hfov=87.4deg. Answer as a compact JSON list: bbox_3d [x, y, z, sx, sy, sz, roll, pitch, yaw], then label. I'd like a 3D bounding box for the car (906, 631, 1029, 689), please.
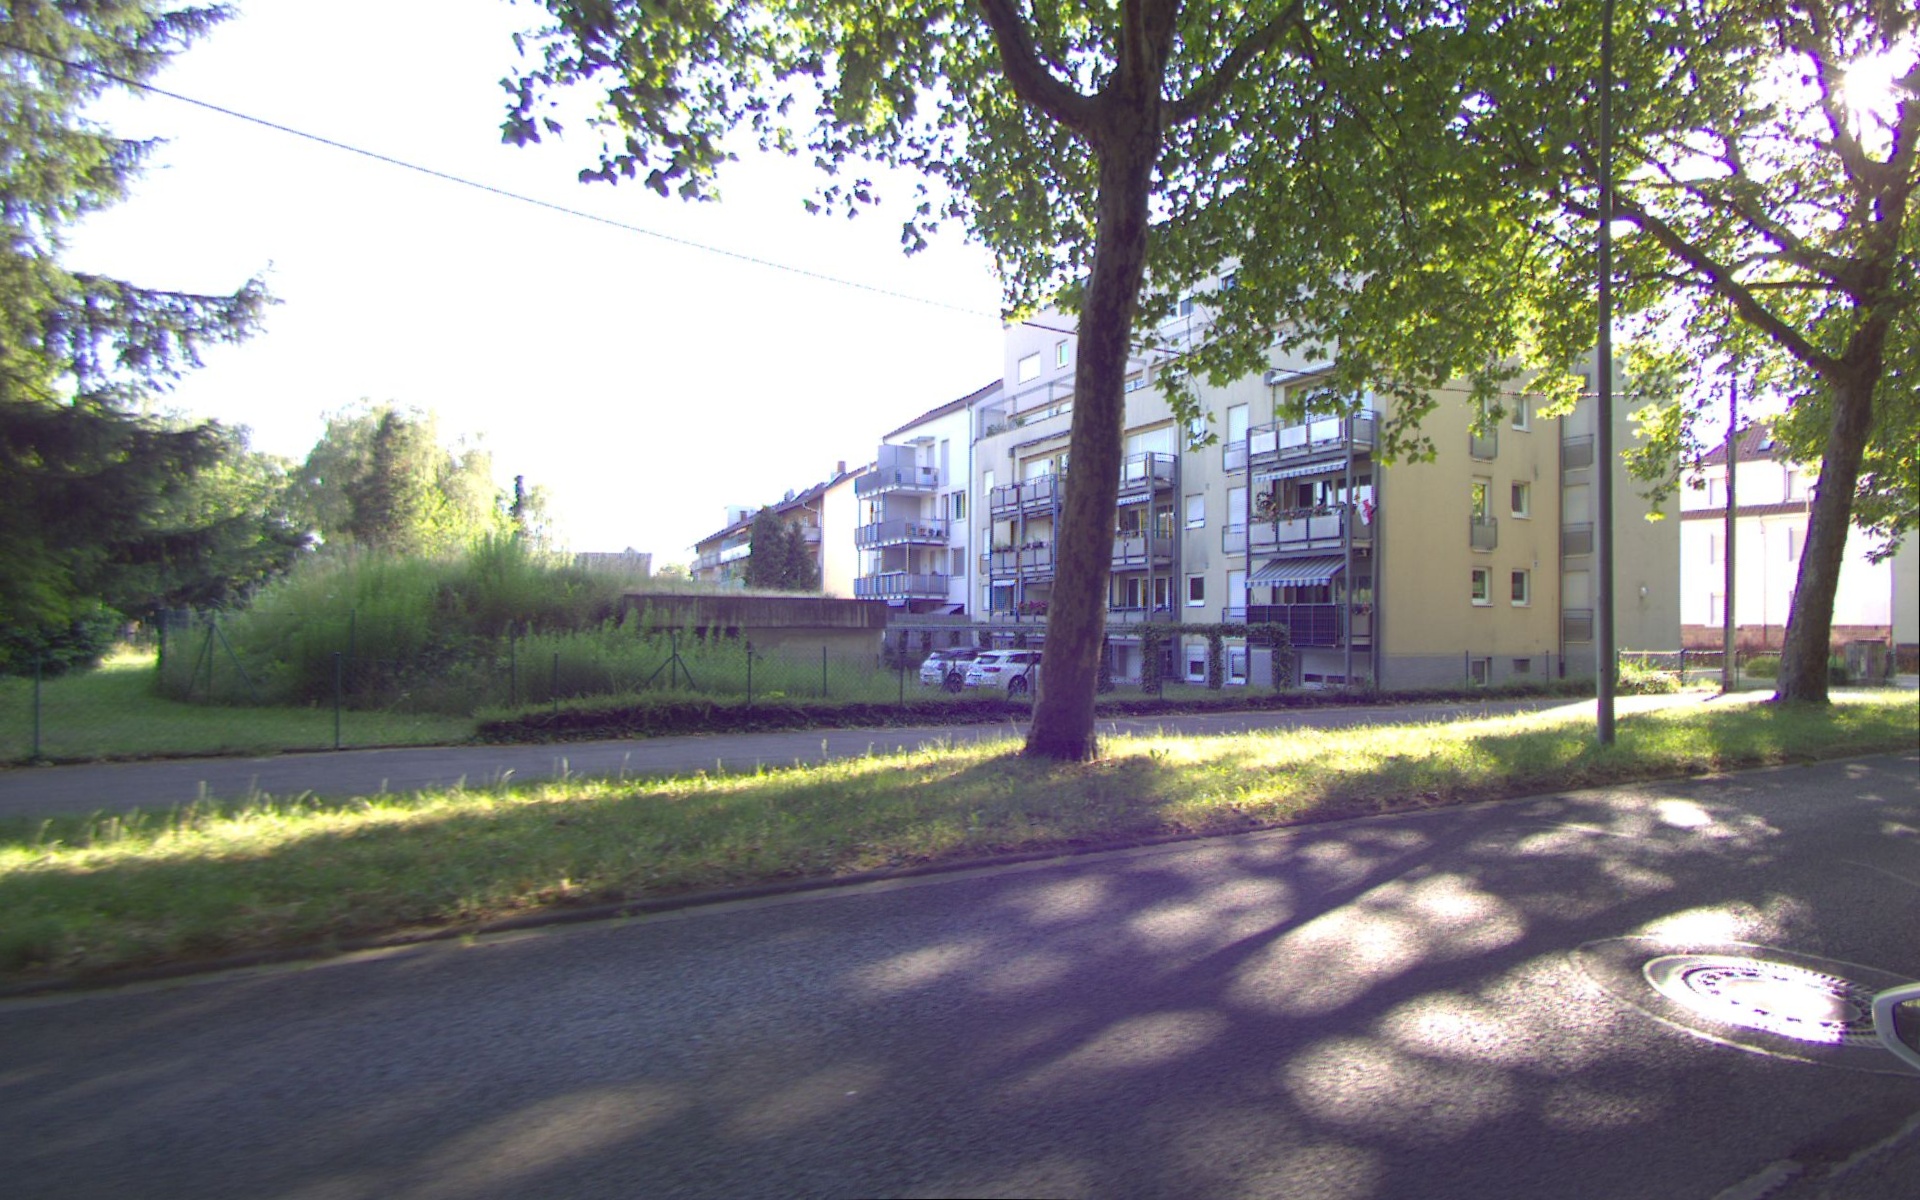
[{"bbox_3d":[0.284,2.052,35.283,3.953,1.871,1.840,1,0,-30],"label":"car"}]

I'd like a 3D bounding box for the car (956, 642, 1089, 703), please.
[{"bbox_3d":[2.050,2.289,32.696,3.958,1.737,1.981,1,0,-34],"label":"car"}]
